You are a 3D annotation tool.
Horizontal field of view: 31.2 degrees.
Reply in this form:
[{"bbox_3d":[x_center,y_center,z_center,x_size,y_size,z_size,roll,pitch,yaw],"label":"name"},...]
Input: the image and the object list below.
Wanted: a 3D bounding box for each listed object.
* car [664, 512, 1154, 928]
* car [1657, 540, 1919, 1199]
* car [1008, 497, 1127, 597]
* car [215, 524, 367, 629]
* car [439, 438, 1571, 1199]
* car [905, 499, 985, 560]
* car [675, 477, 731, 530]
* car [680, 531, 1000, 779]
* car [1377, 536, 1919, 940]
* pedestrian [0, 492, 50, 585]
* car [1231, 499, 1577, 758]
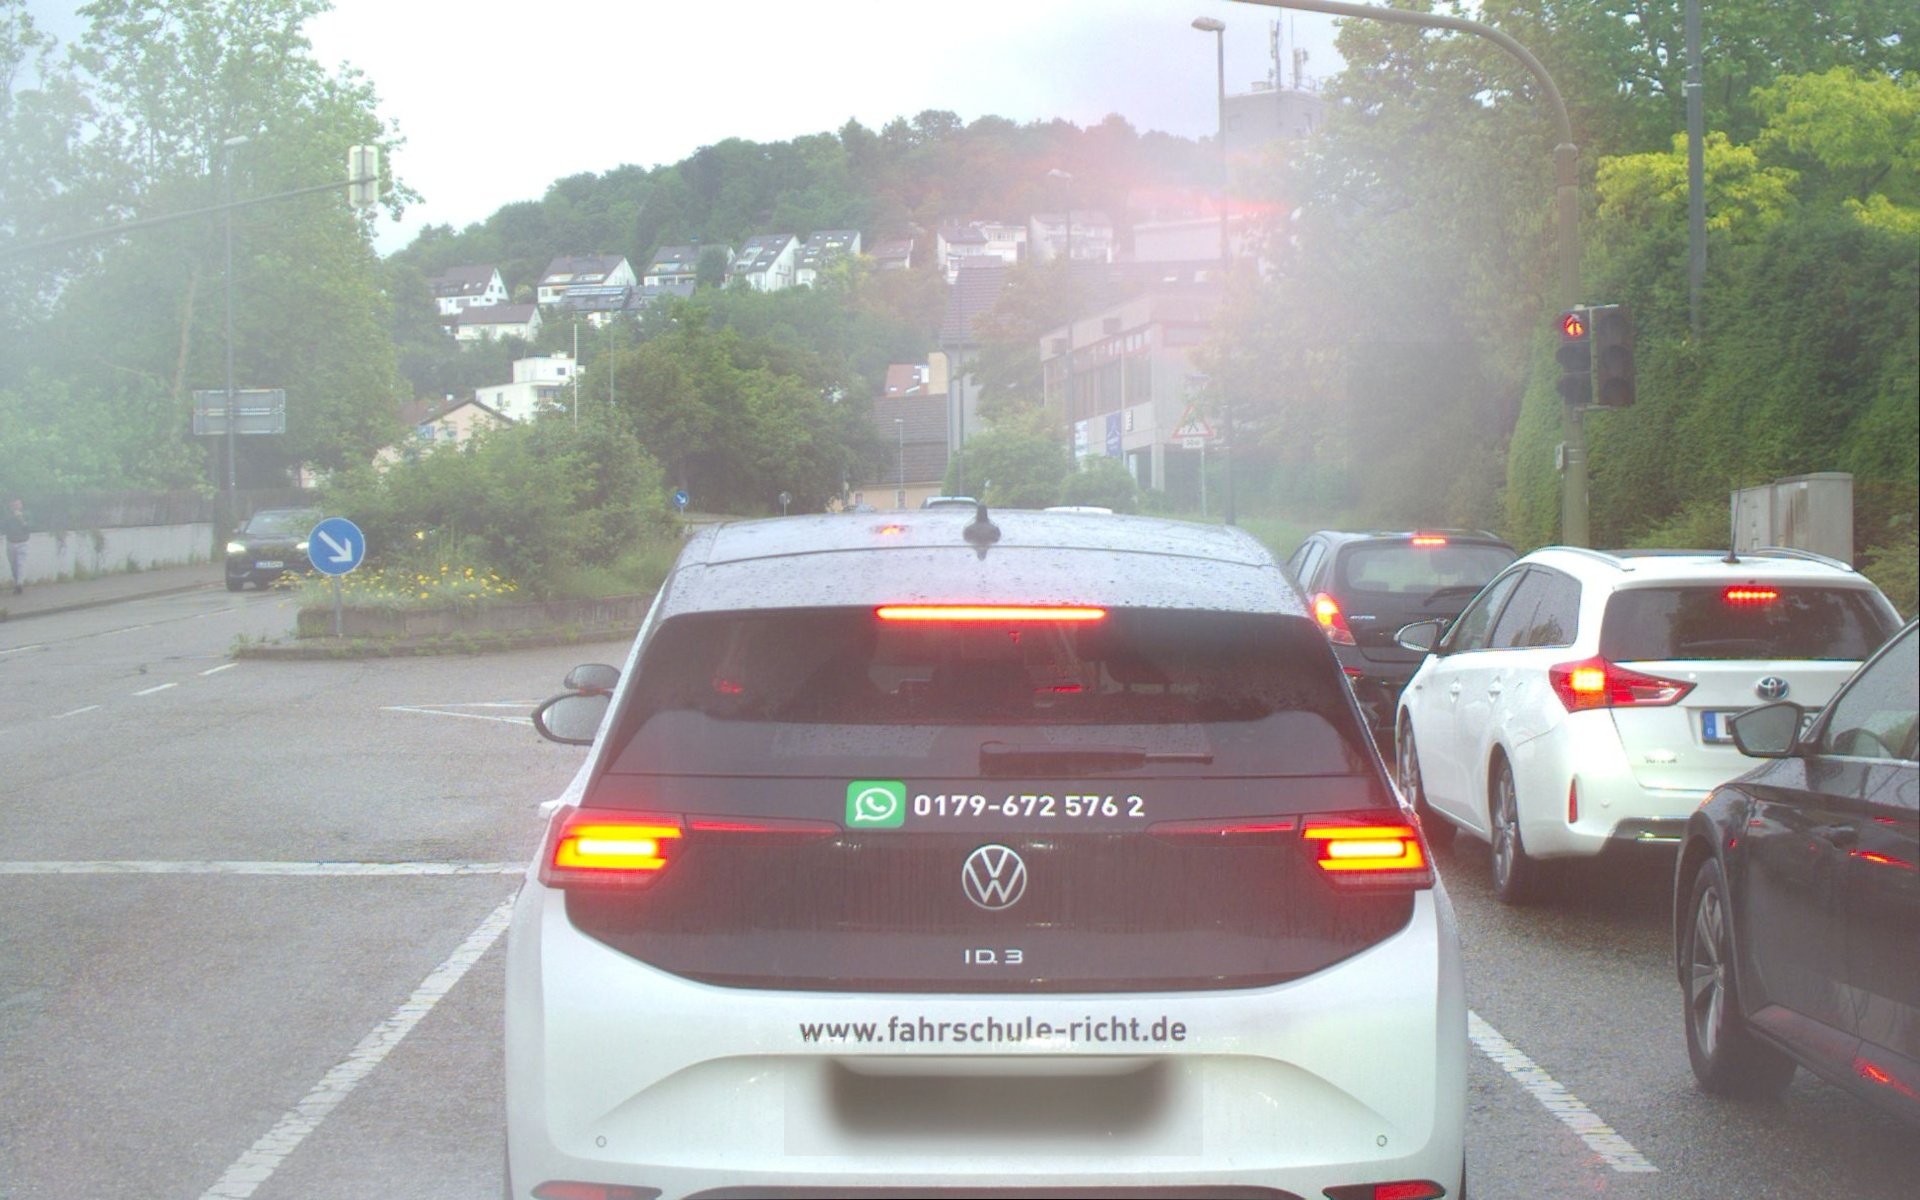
[{"bbox_3d":[-0.239,0.409,15.213,1.837,1.549,4.175,1,1,-1],"label":"car"},{"bbox_3d":[2.873,0.634,7.520,1.838,1.461,4.350,1,1,1],"label":"car"},{"bbox_3d":[1.638,-0.811,53.428,1.581,1.462,4.000,-1,1,-1],"label":"car"},{"bbox_3d":[-12.498,-0.462,64.450,1.993,1.798,4.000,-3,1,0],"label":"car"},{"bbox_3d":[0.022,0.509,7.973,1.837,1.623,4.616,1,1,-1],"label":"car"},{"bbox_3d":[-0.380,-1.730,83.491,1.761,1.413,3.749,-1,2,-3],"label":"car"},{"bbox_3d":[-10.450,-3.927,140.199,1.993,2.007,4.000,1,0,0],"label":"car"},{"bbox_3d":[-0.743,0.285,22.000,1.837,1.395,3.831,1,1,-1],"label":"car"},{"bbox_3d":[3.042,0.485,14.972,1.837,1.461,4.117,1,1,-1],"label":"car"},{"bbox_3d":[-16.172,-1.047,59.128,0.760,1.562,0.825,-2,1,-1],"label":"pedestrian"},{"bbox_3d":[2.923,0.152,23.391,1.775,1.576,4.000,1,1,0],"label":"car"}]
